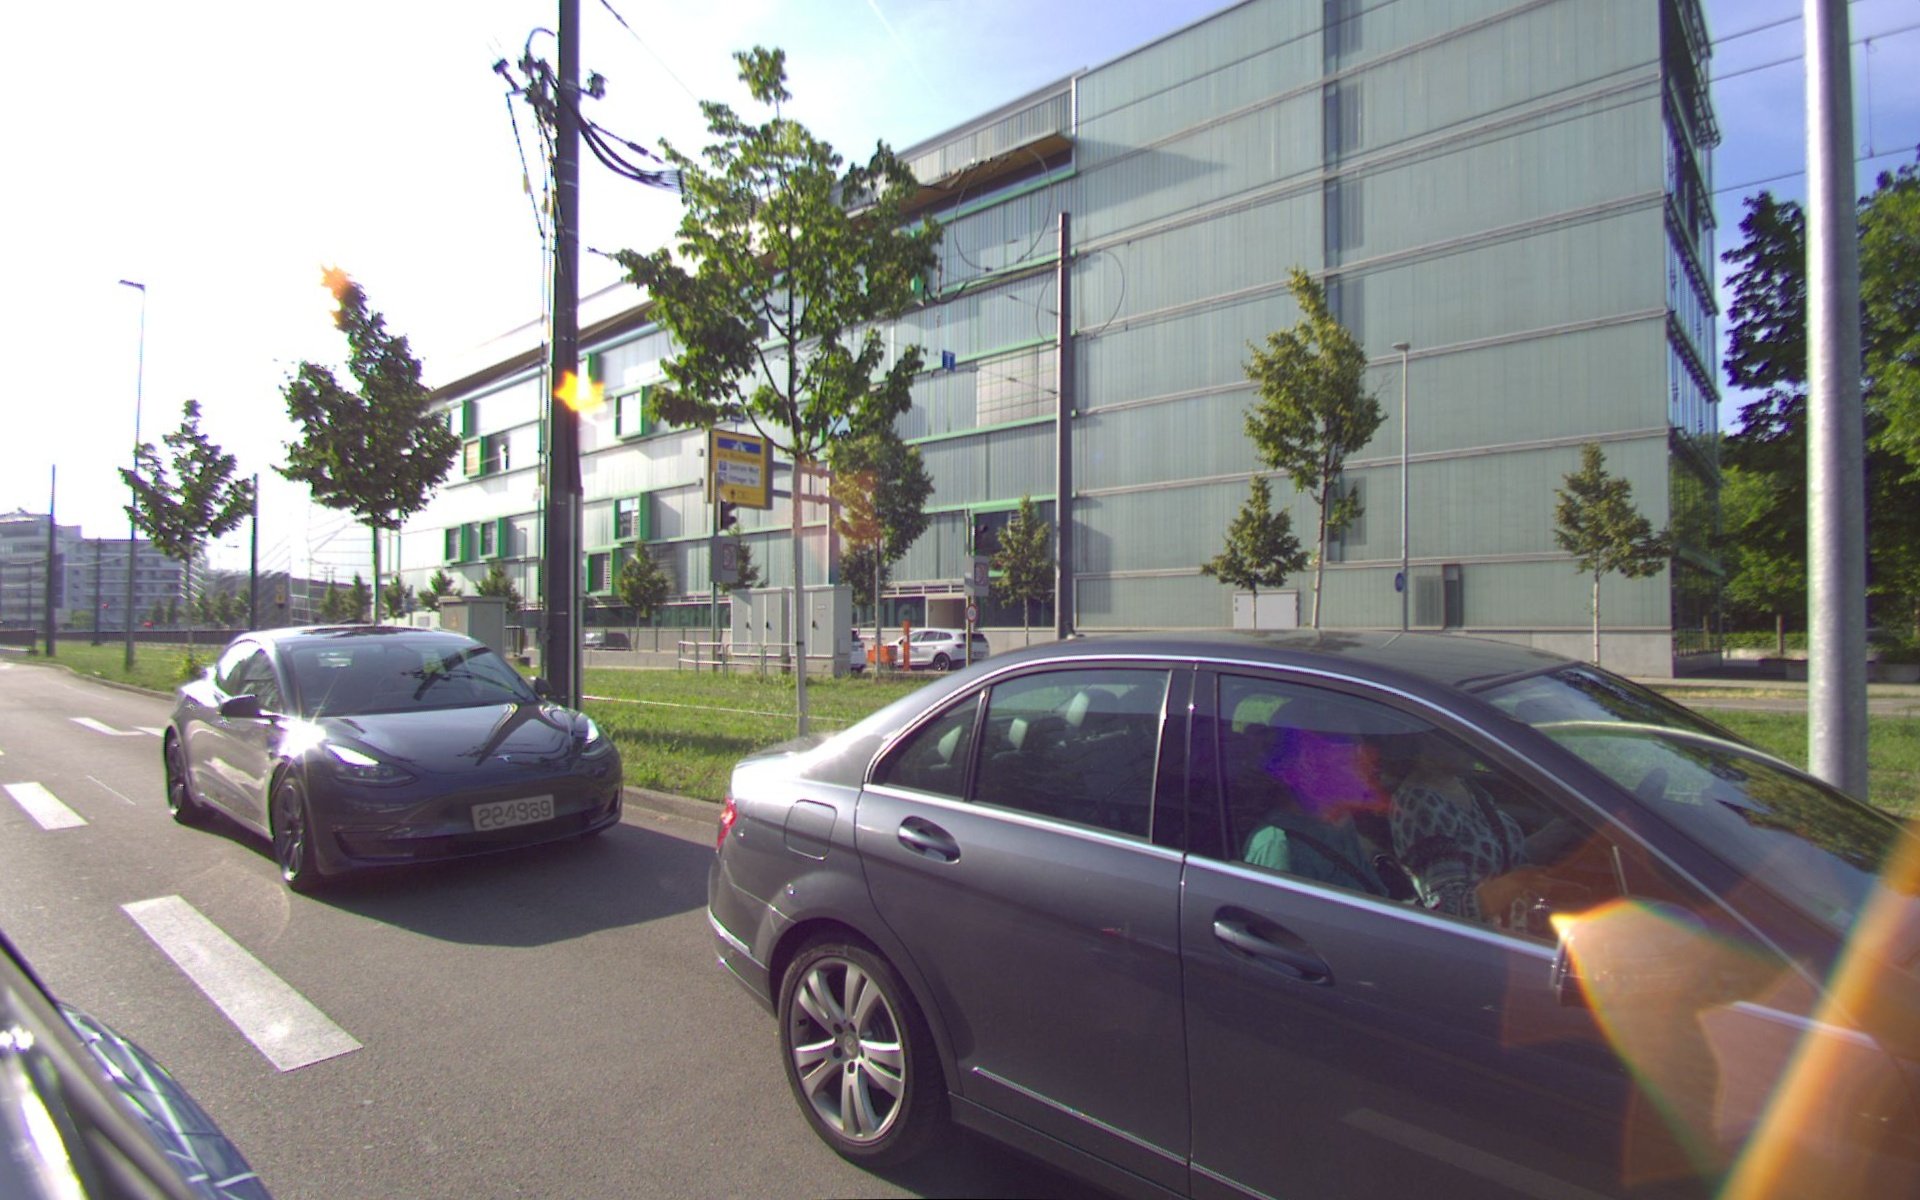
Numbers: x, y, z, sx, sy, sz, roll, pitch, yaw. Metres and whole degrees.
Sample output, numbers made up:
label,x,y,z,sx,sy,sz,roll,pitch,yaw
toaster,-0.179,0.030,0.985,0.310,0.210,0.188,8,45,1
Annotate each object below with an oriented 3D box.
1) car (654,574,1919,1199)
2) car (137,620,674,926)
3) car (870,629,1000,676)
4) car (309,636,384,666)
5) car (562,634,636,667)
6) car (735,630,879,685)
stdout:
label,x,y,z,sx,sy,sz,roll,pitch,yaw
car,1.209,0.727,2.419,4.354,1.490,1.767,-2,-1,43
car,-3.988,0.890,6.916,4.333,1.396,1.870,-2,-1,42
car,-0.932,1.823,35.607,4.438,1.539,1.886,-2,-3,40
car,-33.174,2.734,54.676,4.908,1.539,1.973,-2,-3,40
car,-18.608,2.554,52.053,4.179,1.647,1.888,-2,-2,43
car,-4.652,1.680,30.397,4.309,1.539,1.973,-2,-3,41
